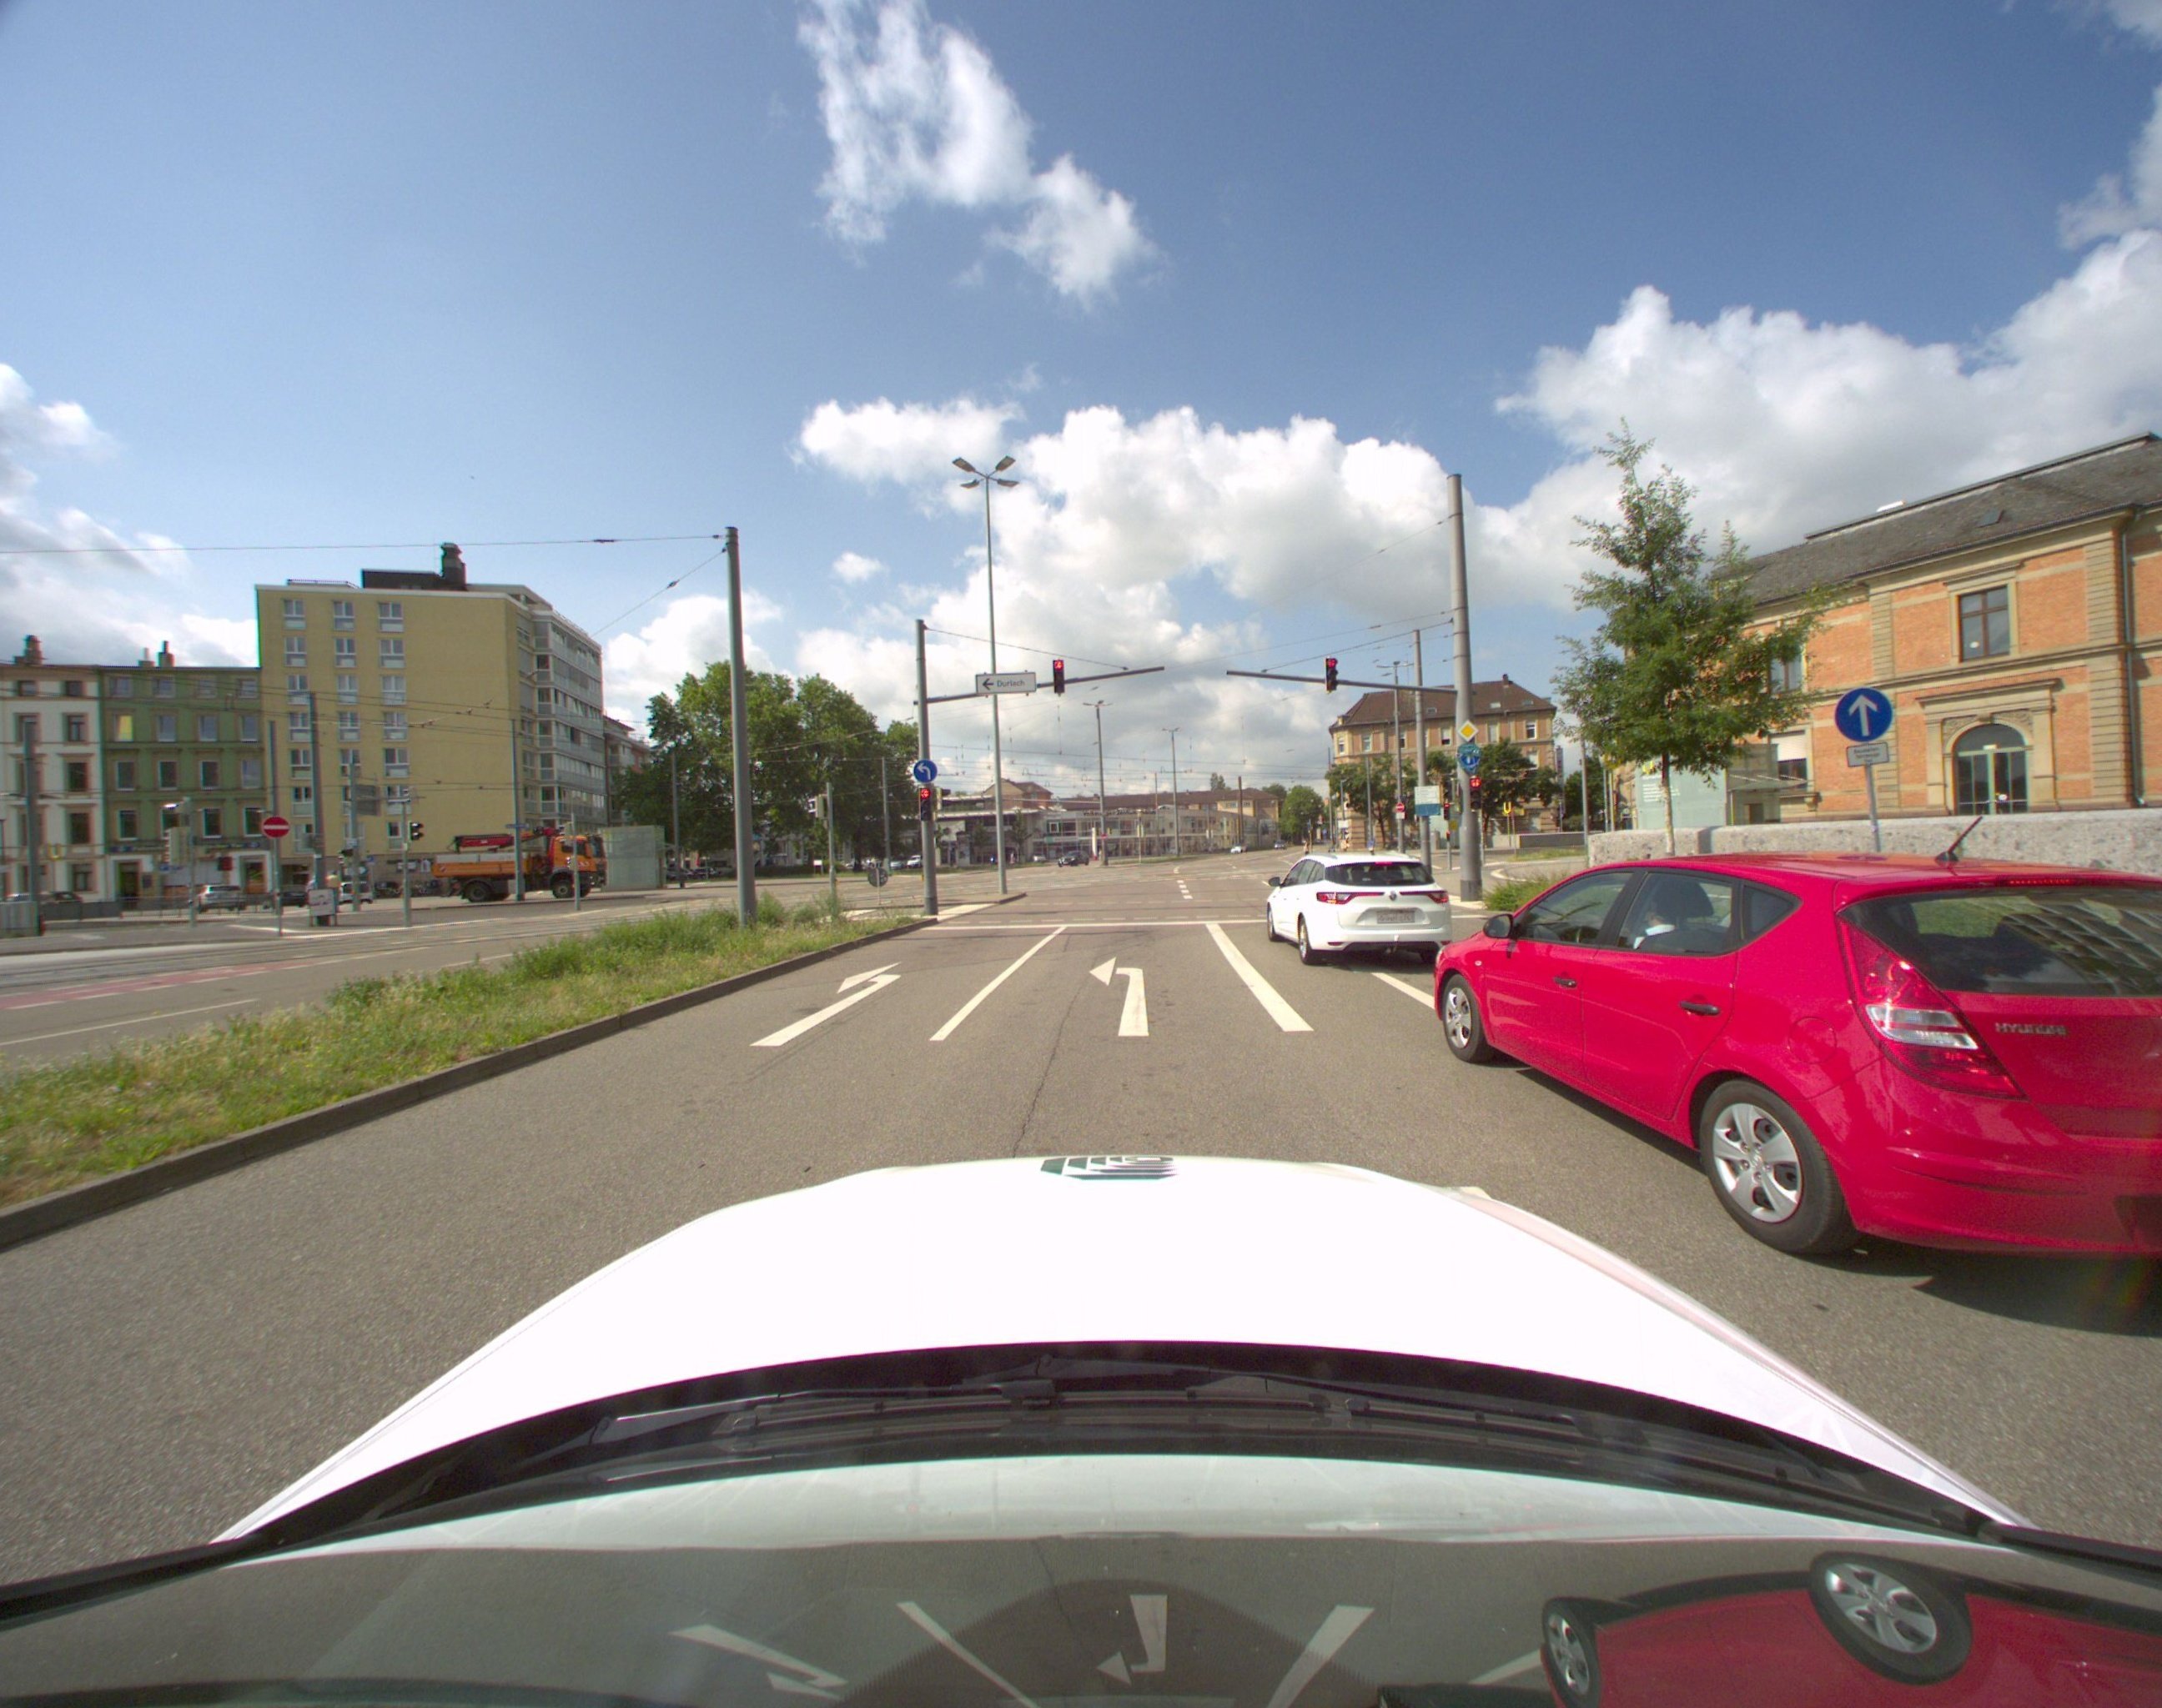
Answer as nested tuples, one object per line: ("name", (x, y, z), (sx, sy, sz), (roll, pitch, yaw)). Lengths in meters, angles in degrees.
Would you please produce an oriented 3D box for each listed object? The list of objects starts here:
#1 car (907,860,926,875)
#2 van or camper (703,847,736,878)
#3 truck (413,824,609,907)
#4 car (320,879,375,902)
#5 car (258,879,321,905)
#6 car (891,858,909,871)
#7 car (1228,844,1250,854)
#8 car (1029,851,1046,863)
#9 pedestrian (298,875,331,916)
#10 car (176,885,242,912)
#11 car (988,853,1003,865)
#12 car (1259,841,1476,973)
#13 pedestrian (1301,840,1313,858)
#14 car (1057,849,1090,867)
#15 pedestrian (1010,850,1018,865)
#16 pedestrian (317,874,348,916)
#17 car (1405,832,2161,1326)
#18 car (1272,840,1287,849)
("car", (-23.434, 1.915, 115.850), (1.989, 2.013, 3.995), (-2, 0, -3))
("van or camper", (-36.839, 0.835, 83.157), (2.590, 2.908, 6.058), (-2, 0, -20))
("truck", (-29.533, 0.551, 42.570), (7.931, 3.856, 2.188), (-2, 0, -17))
("car", (-46.854, 2.337, 52.016), (3.629, 1.350, 1.708), (-2, 0, 33))
("car", (-48.924, 2.352, 50.314), (3.953, 1.436, 1.883), (-2, 0, 32))
("car", (-25.812, 1.503, 116.073), (1.794, 1.769, 3.995), (-2, 0, -3))
("car", (24.791, -0.740, 127.621), (1.974, 1.442, 4.026), (-2, 0, 32))
("car", (-6.179, 0.480, 115.418), (1.993, 1.596, 3.988), (-2, 0, -9))
("pedestrian", (-35.820, 1.939, 38.075), (0.696, 1.860, 0.819), (-2, 0, 2))
("car", (-52.878, 2.690, 49.380), (3.631, 1.500, 1.707), (-2, 0, 25))
("car", (-11.967, 0.723, 114.377), (1.990, 1.552, 4.072), (-2, 0, -4))
("car", (3.841, 0.616, 11.751), (1.839, 1.472, 4.340), (-3, 0, 4))
("pedestrian", (20.012, -0.438, 72.050), (0.678, 1.535, 0.666), (-2, 0, -37))
("car", (-0.695, 0.364, 77.493), (1.978, 1.530, 4.018), (-2, 0, 16))
("pedestrian", (-9.187, 0.448, 111.744), (0.881, 1.948, 0.886), (-2, 0, -7))
("pedestrian", (-35.034, 1.903, 38.109), (0.648, 1.868, 0.782), (-2, 0, 2))
("car", (3.399, 0.649, 4.407), (1.809, 1.439, 4.069), (0, 0, 2))
("car", (36.405, -1.752, 149.432), (1.975, 1.574, 4.023), (-2, 0, 24))
